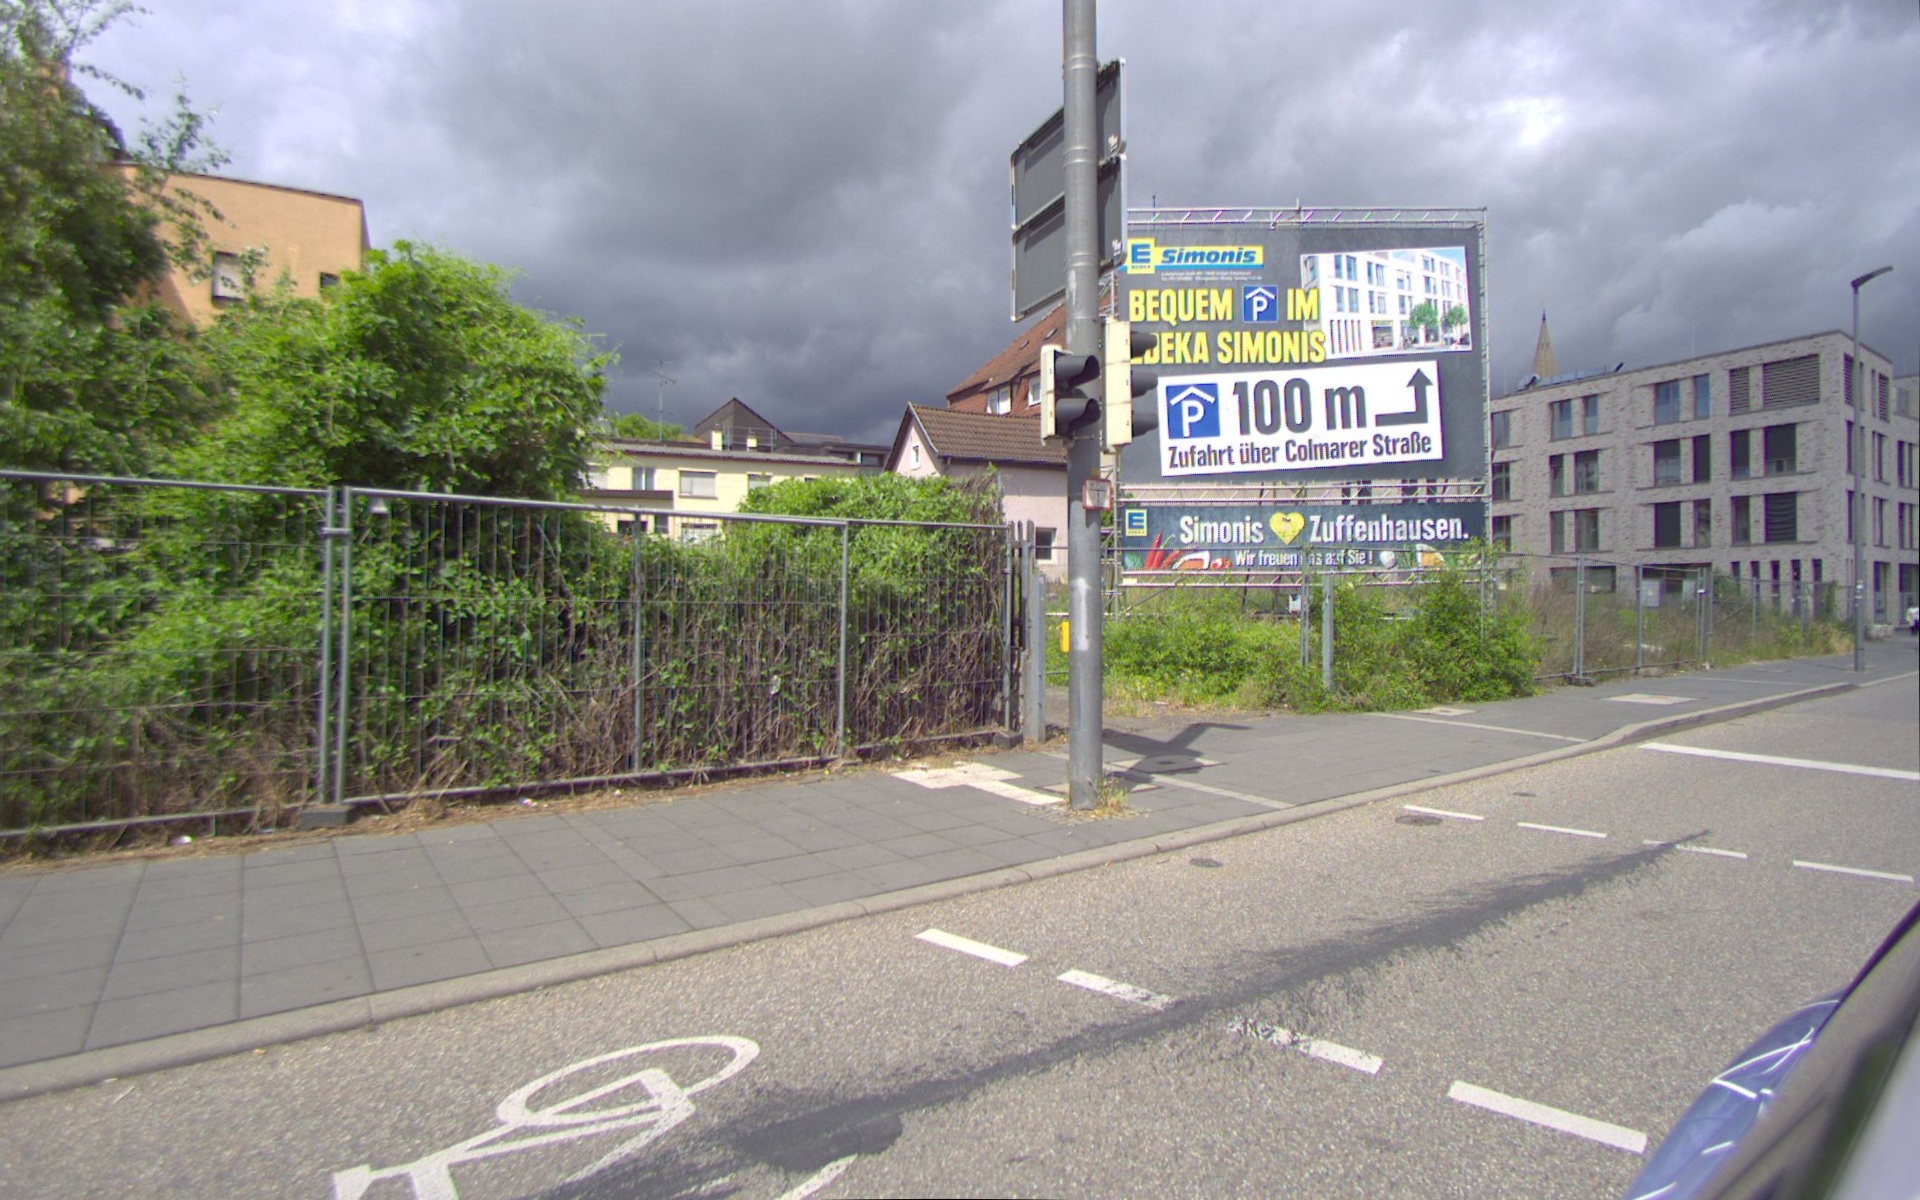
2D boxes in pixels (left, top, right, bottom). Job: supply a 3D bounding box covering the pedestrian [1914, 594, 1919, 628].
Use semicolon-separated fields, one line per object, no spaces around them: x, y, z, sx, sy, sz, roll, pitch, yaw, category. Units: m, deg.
43.039;0.497;45.073;0.768;1.531;0.673;1;0;-39;pedestrian
